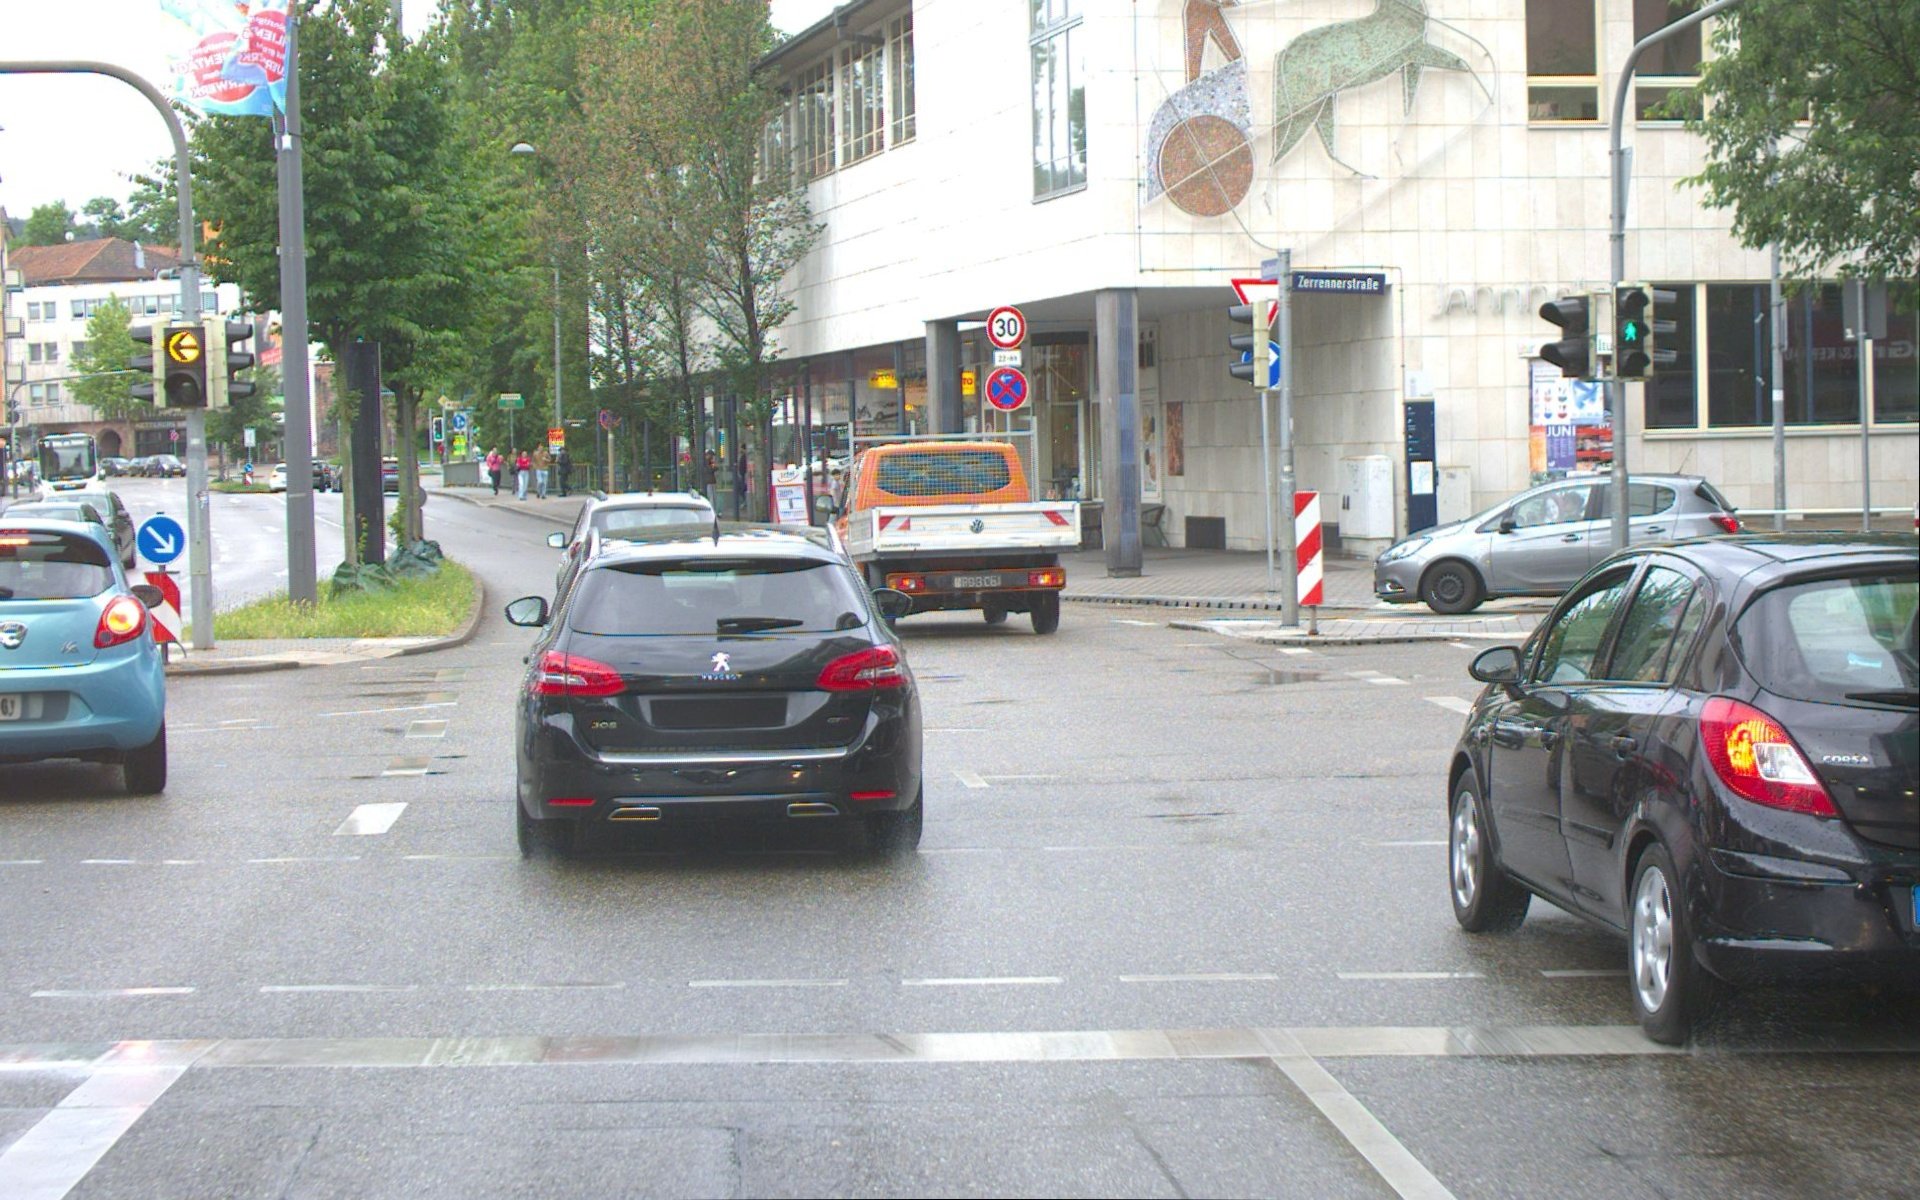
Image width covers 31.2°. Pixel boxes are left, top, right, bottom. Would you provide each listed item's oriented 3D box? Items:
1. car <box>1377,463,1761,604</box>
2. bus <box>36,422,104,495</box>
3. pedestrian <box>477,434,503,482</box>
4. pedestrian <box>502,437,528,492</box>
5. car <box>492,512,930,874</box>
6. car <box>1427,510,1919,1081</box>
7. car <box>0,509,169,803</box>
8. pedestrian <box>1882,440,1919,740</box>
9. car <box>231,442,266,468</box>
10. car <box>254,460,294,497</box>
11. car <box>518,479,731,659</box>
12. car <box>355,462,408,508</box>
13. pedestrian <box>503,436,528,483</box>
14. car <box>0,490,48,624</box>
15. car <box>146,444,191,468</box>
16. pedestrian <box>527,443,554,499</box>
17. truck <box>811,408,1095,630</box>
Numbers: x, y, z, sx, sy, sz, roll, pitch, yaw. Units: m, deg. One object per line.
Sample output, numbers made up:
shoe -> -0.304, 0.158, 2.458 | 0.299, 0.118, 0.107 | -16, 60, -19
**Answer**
car -> 6.579, -0.720, 37.213 | 3.989, 1.471, 1.999 | 0, 2, 11
bus -> -41.556, -6.650, 160.298 | 2.743, 3.064, 12.243 | -2, 4, -15
pedestrian -> -16.117, -4.865, 117.852 | 0.717, 1.614, 0.770 | -3, 3, -14
pedestrian -> -14.475, -4.416, 111.839 | 0.653, 1.761, 0.923 | -3, 3, -14
car -> -1.096, 0.330, 16.124 | 1.795, 1.478, 4.001 | 0, 2, -2
car -> 2.683, 0.467, 10.975 | 1.708, 1.452, 3.743 | 0, 2, -3
car -> -5.514, 0.250, 19.516 | 1.695, 1.469, 3.692 | -1, 2, -17
pedestrian -> 6.017, -0.068, 20.413 | 0.748, 1.773, 0.888 | -2, 1, -5
car -> -48.877, -9.945, 236.150 | 1.993, 1.678, 4.002 | -2, 3, -16
car -> -31.466, -5.570, 157.709 | 1.644, 1.559, 3.601 | 1, 0, -14
car -> -3.114, -0.344, 31.763 | 1.794, 1.478, 4.001 | -2, 3, -6
car -> -21.345, -4.218, 126.755 | 1.644, 1.559, 3.601 | 1, 0, -14
pedestrian -> -15.260, -4.836, 118.006 | 0.725, 1.584, 0.607 | -3, 3, -14
car -> -13.272, -0.538, 44.600 | 1.827, 1.730, 4.311 | -2, 2, -2
car -> -55.861, -10.152, 242.584 | 1.645, 1.559, 3.599 | 1, 0, -38
pedestrian -> -13.678, -4.210, 112.054 | 0.698, 1.795, 0.607 | -3, 3, -14
truck -> -0.162, -0.831, 34.732 | 2.121, 2.018, 4.717 | -2, 2, -9
